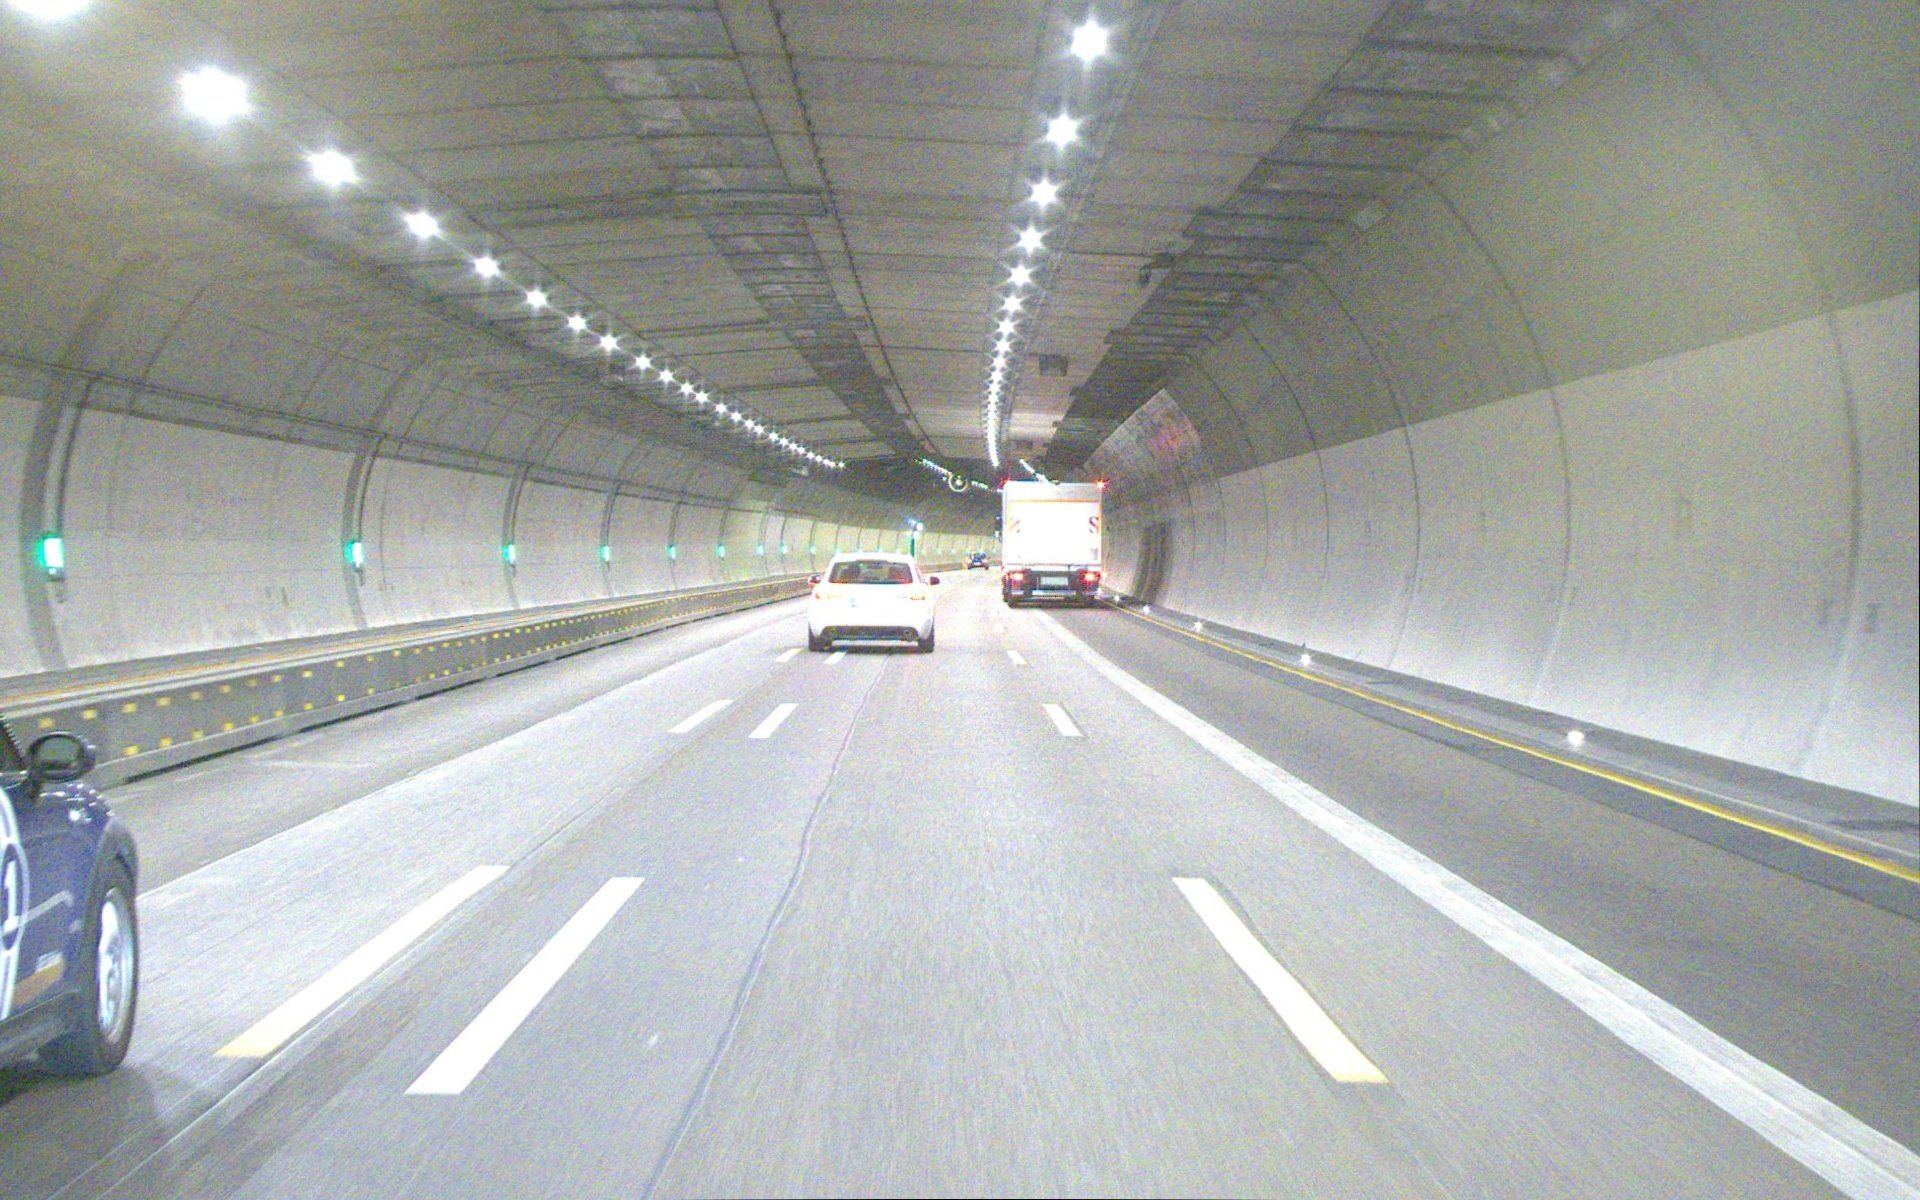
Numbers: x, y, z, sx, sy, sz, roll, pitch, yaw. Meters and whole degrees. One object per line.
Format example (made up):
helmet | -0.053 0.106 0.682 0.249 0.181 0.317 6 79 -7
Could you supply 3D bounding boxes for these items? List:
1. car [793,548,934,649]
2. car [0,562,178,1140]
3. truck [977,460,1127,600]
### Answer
car | -1.448 -0.058 51.686 1.993 1.408 4.743 1 1 -1
car | -3.205 0.612 8.514 1.689 1.412 3.923 1 1 -1
truck | 2.464 -1.924 96.603 3.592 3.638 10.723 1 1 -1
